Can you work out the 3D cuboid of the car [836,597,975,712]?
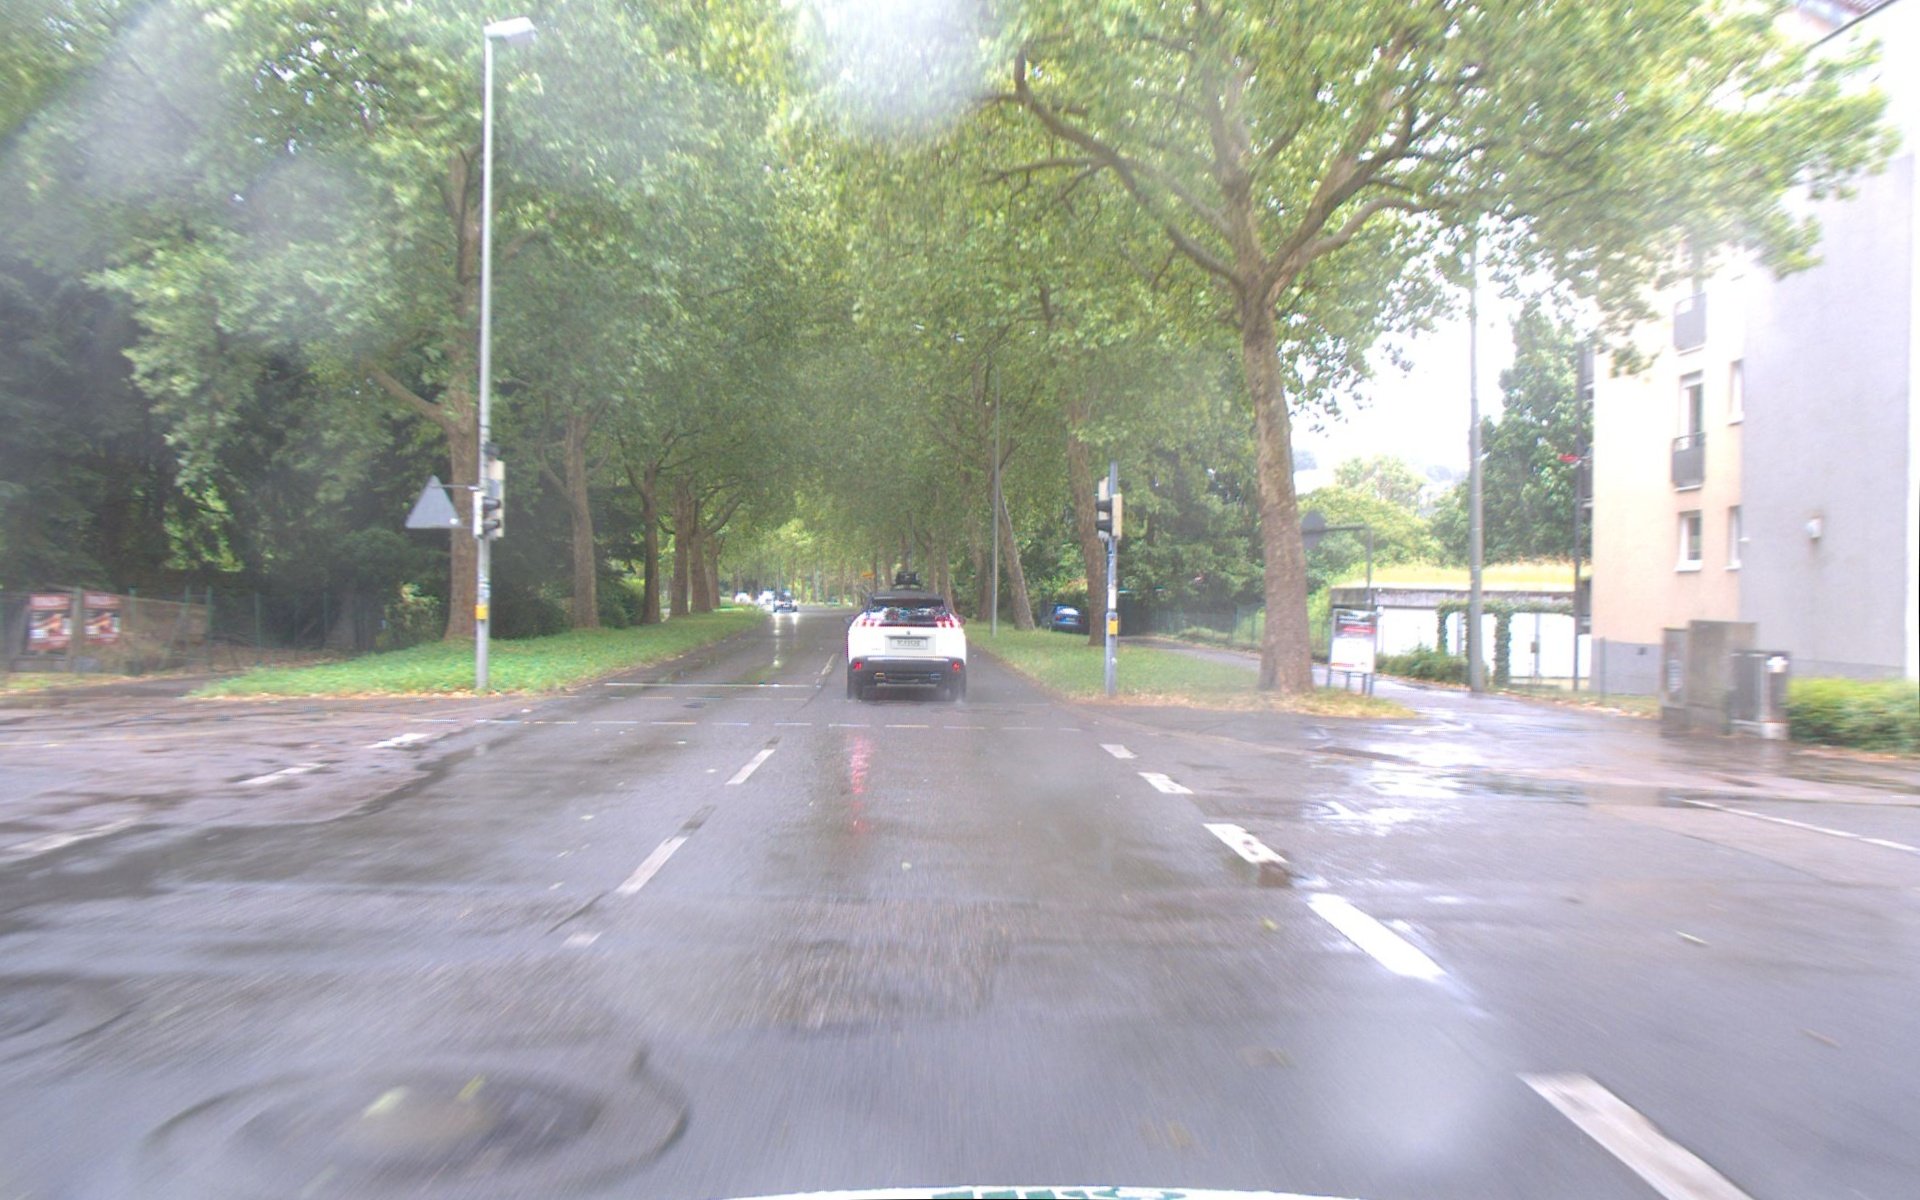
[{"bbox_3d":[-0.908,0.763,25.132,1.746,1.563,4.051,1,0,-7],"label":"car"}]

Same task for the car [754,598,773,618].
[{"bbox_3d":[-20.261,0.841,170.788,1.707,2.049,3.661,1,0,-4],"label":"car"}]

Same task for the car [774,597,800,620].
[{"bbox_3d":[-13.662,0.667,130.828,1.836,1.706,3.706,1,0,-2],"label":"car"}]

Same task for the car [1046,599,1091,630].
[{"bbox_3d":[5.446,0.716,83.311,1.867,1.536,3.929,1,0,-2],"label":"car"}]
